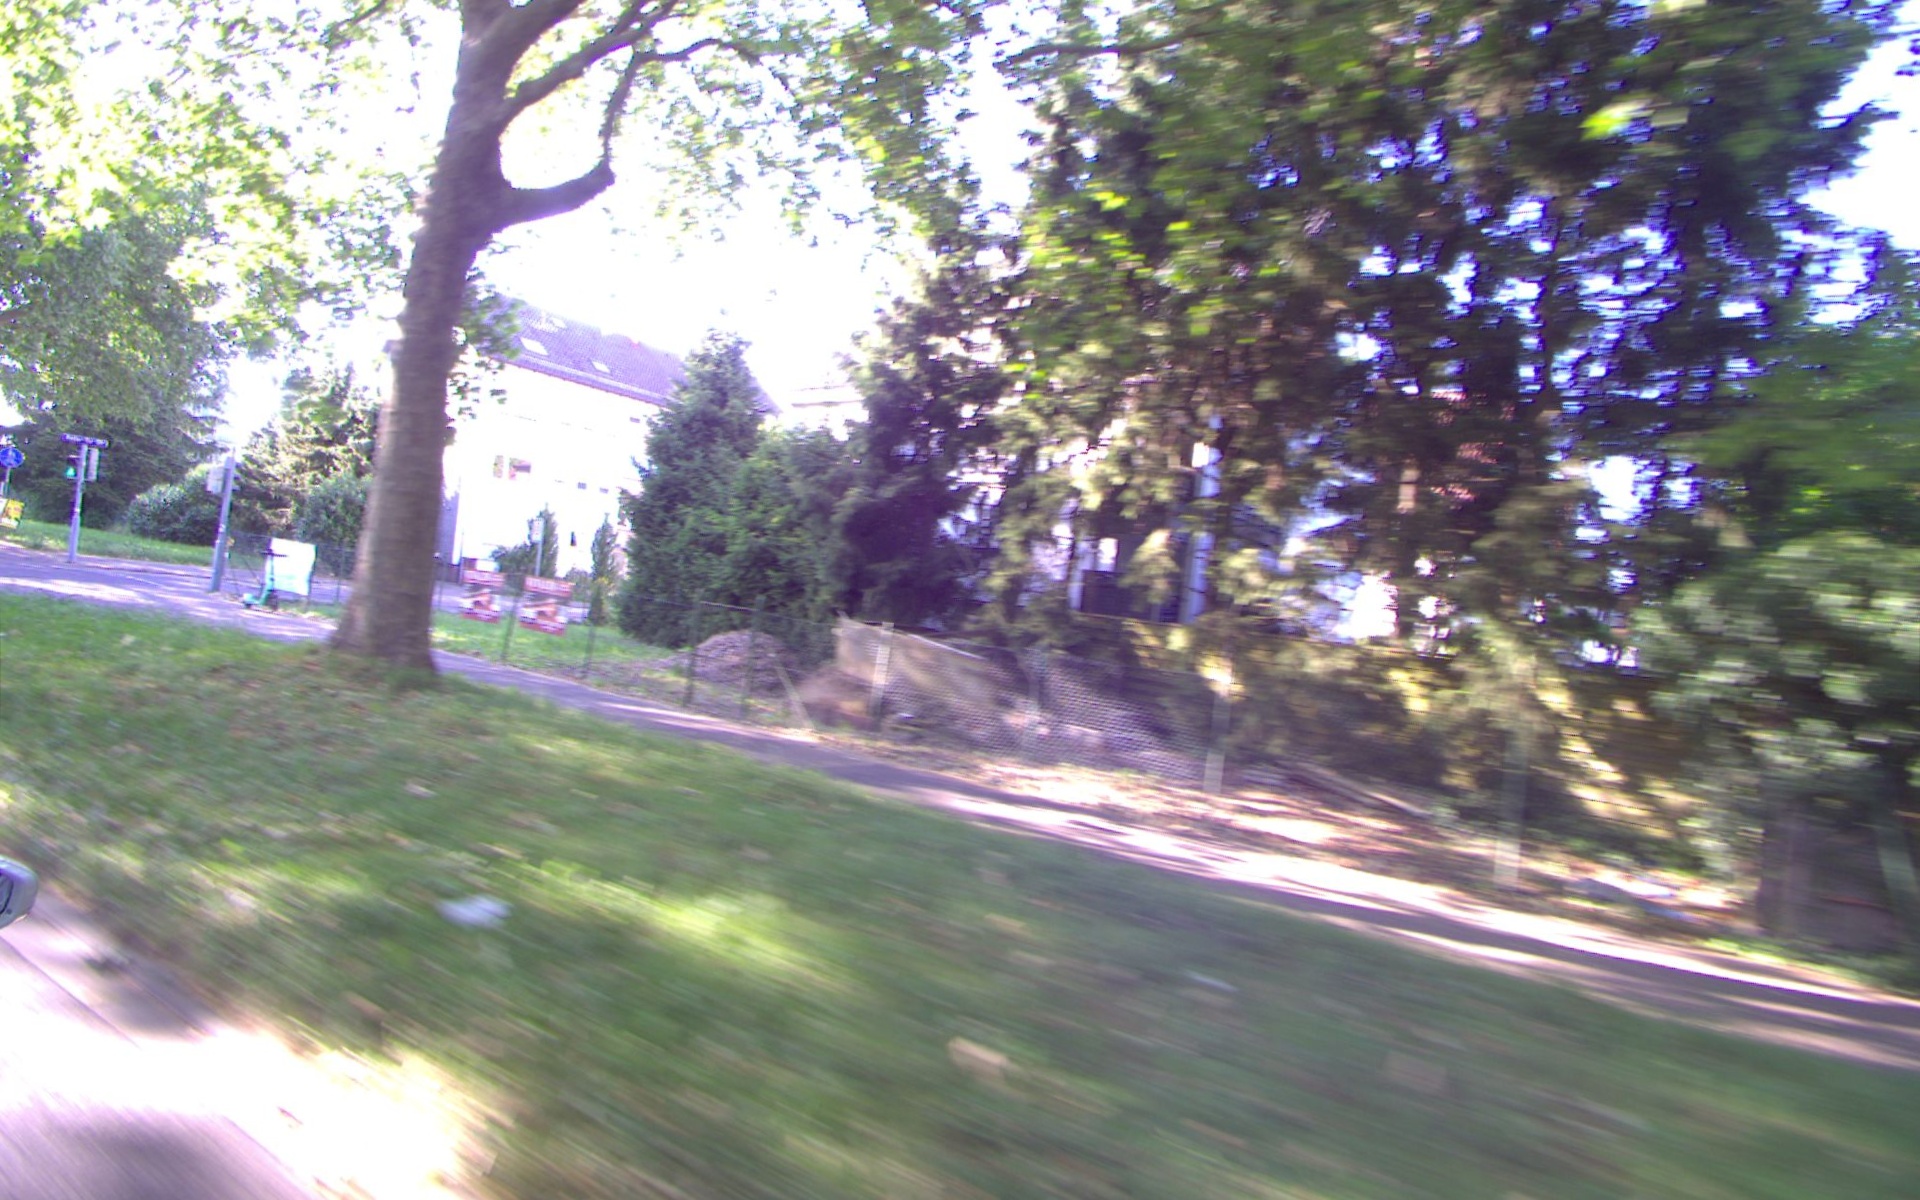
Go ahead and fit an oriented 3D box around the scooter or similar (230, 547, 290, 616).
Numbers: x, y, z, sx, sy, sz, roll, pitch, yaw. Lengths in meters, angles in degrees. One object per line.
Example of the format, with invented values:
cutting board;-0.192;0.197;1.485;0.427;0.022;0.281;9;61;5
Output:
scooter or similar;-13.863;-0.365;19.914;1.234;1.210;0.383;8;0;32
